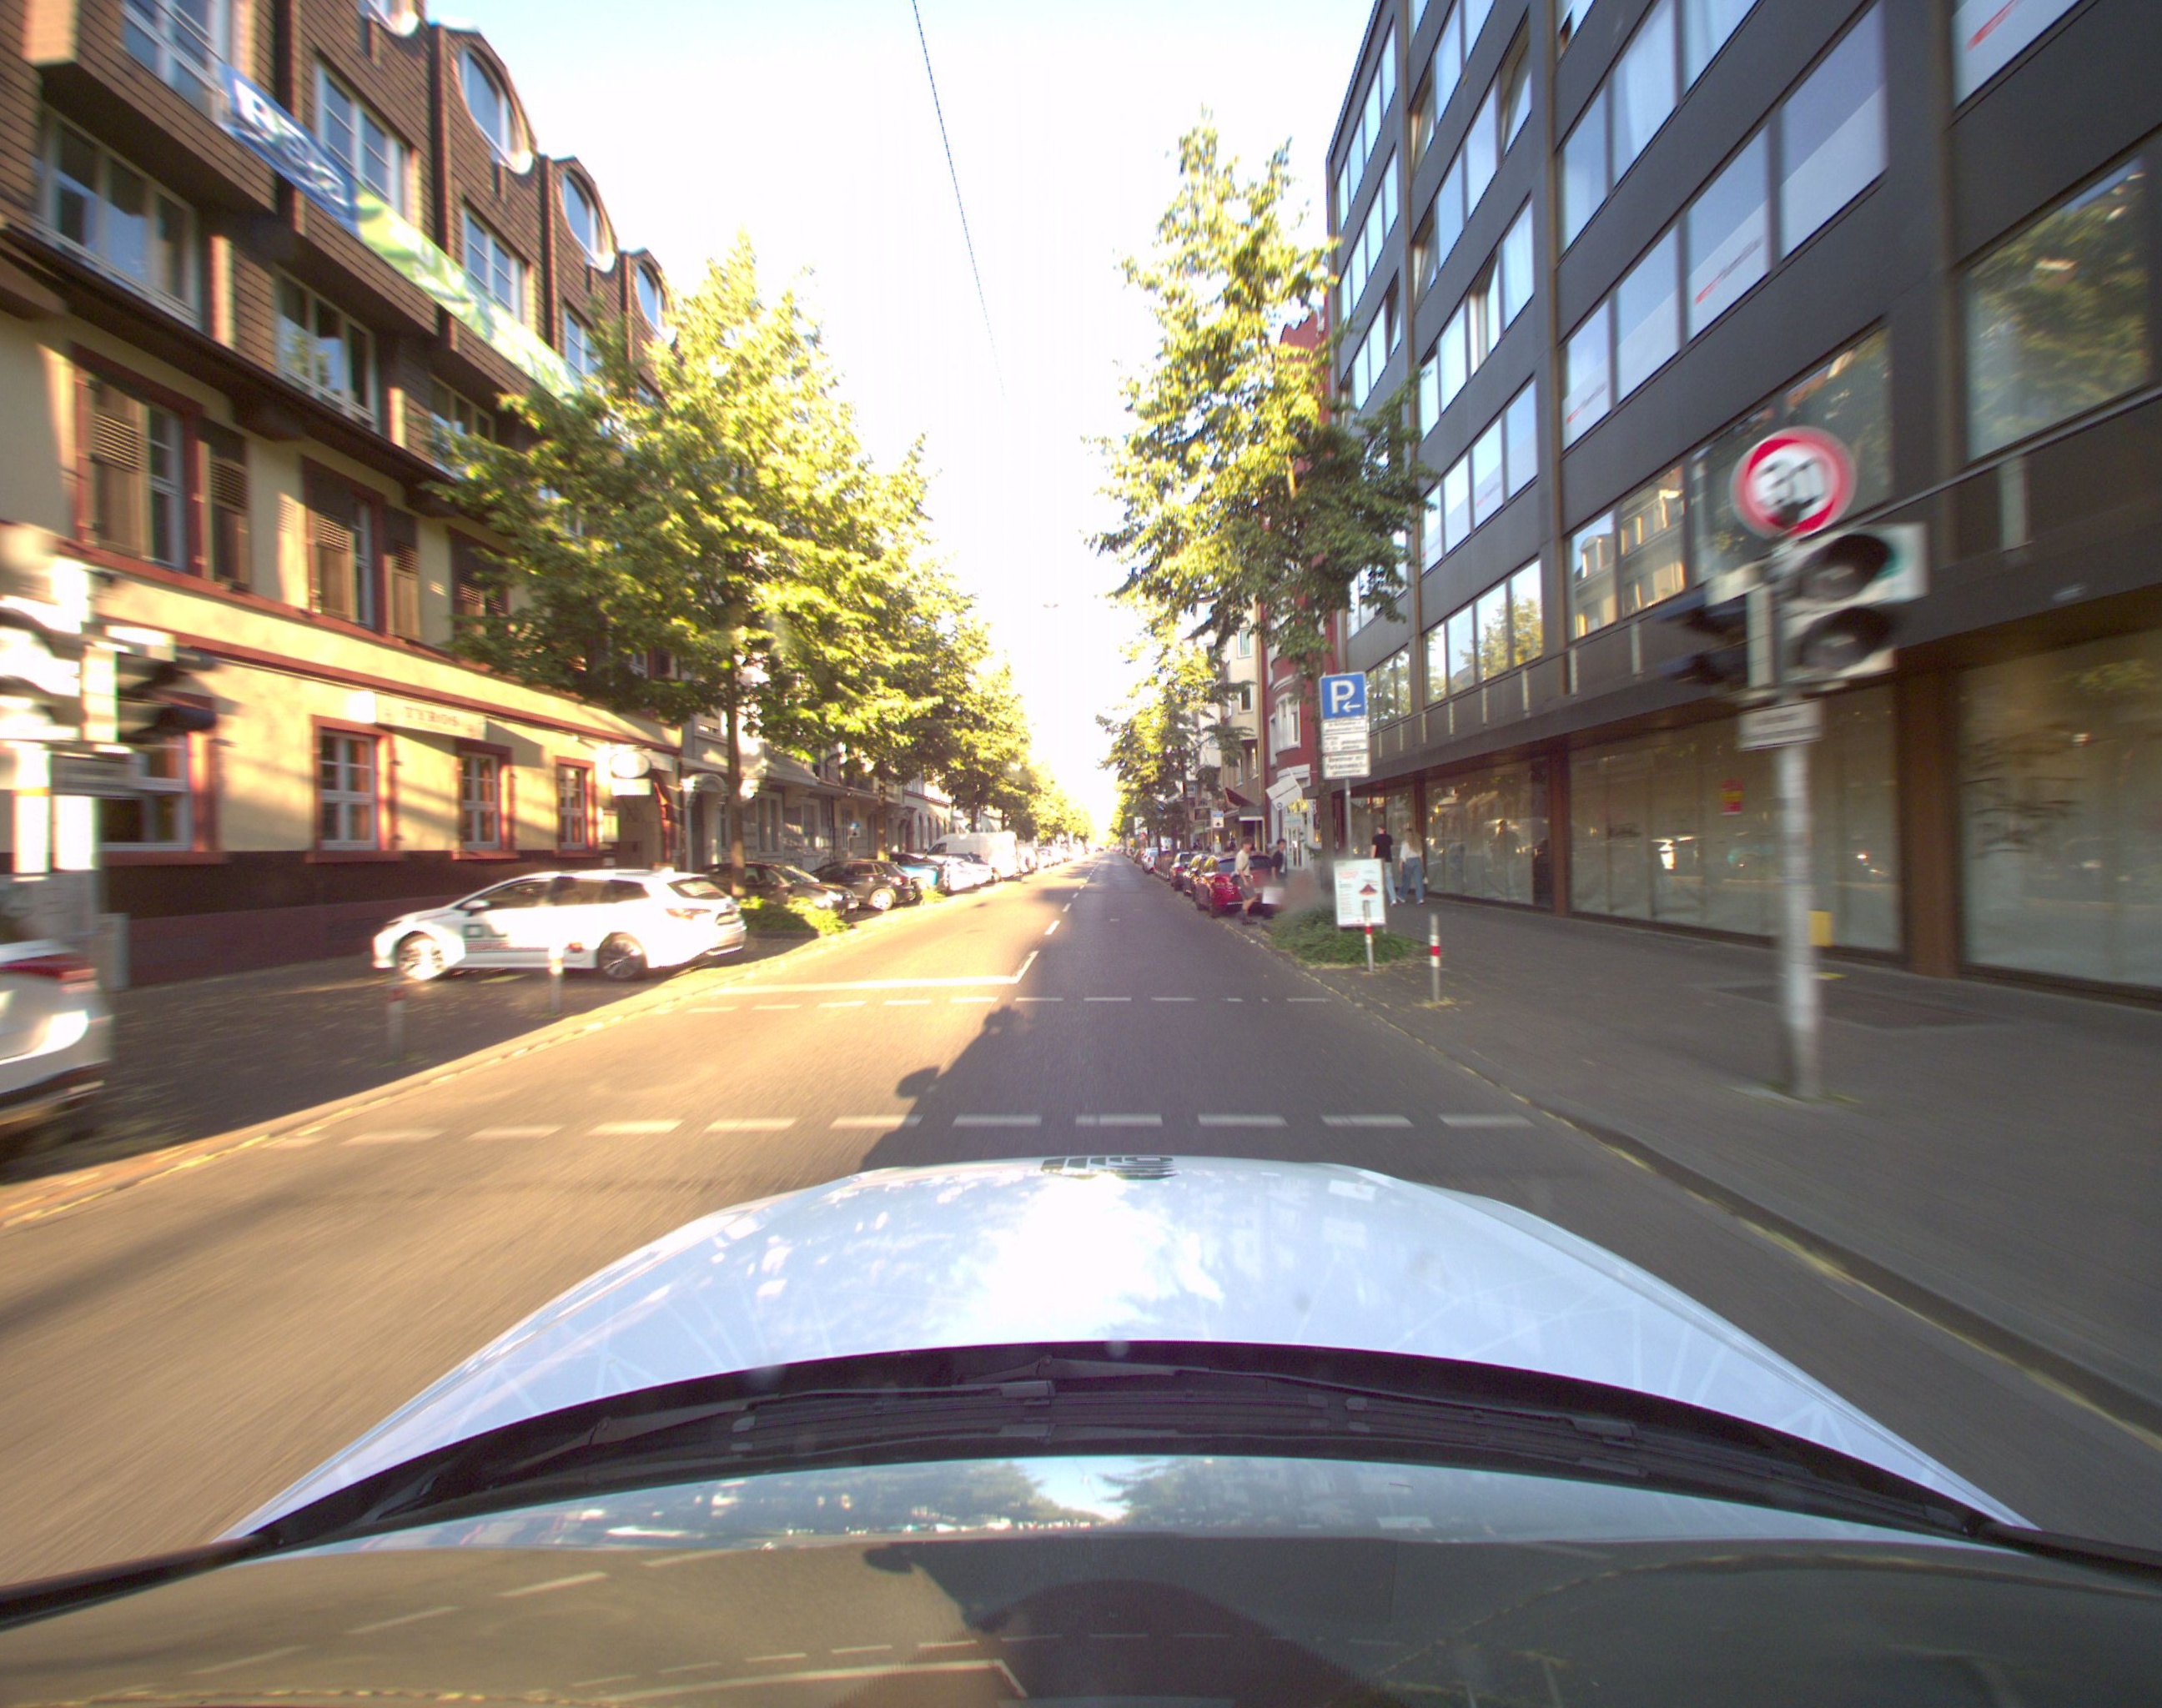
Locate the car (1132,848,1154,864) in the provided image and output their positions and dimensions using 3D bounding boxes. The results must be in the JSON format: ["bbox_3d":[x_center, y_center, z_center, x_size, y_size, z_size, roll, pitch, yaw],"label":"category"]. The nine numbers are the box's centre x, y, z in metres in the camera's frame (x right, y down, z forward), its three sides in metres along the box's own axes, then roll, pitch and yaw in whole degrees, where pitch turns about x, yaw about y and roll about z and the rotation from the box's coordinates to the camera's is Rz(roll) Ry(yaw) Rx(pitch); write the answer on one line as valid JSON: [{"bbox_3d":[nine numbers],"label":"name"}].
[{"bbox_3d":[6.402,0.210,84.249,1.822,1.488,4.849,-3,0,0],"label":"car"}]

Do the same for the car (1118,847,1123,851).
[{"bbox_3d":[12.717,-1.490,261.702,1.507,1.276,3.306,-1,0,3],"label":"car"}]

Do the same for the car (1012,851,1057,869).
[{"bbox_3d":[-4.295,0.548,75.795,4.022,1.483,1.964,-1,0,1],"label":"car"}]

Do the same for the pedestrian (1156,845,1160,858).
[{"bbox_3d":[11.551,-0.375,122.712,0.460,1.875,0.499,-2,0,-13],"label":"pedestrian"}]

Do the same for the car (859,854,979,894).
[{"bbox_3d":[-6.185,0.755,31.413,4.171,1.482,1.971,0,0,0],"label":"car"}]

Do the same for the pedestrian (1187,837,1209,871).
[{"bbox_3d":[6.622,0.003,46.031,0.880,1.883,0.794,-3,2,-27],"label":"pedestrian"}]

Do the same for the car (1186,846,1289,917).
[{"bbox_3d":[3.830,0.609,20.657,1.716,1.492,4.754,-4,0,1],"label":"car"}]

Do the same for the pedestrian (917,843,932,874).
[{"bbox_3d":[-9.111,0.257,47.381,0.659,1.802,0.780,-1,0,2],"label":"pedestrian"}]

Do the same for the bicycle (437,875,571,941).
[{"bbox_3d":[-11.073,0.991,15.753,0.707,1.099,2.367,0,0,6],"label":"bicycle"}]

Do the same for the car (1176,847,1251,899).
[{"bbox_3d":[4.258,0.560,26.788,1.768,1.470,4.419,-4,0,1],"label":"car"}]

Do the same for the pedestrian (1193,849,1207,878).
[{"bbox_3d":[5.650,0.427,38.777,0.545,1.345,0.438,-3,0,2],"label":"pedestrian"}]

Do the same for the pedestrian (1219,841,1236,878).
[{"bbox_3d":[6.728,0.238,37.449,0.622,1.677,0.641,-3,0,2],"label":"pedestrian"}]

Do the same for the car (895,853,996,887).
[{"bbox_3d":[-6.080,0.707,36.842,4.197,1.506,1.794,0,0,1],"label":"car"}]

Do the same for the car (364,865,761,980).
[{"bbox_3d":[-7.041,0.891,11.390,4.366,1.423,1.823,0,0,1],"label":"car"}]

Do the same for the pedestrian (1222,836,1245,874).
[{"bbox_3d":[7.911,0.042,42.266,0.791,1.883,0.883,-1,2,39],"label":"pedestrian"}]

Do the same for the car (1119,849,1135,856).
[{"bbox_3d":[10.305,-0.331,182.277,1.654,1.588,3.846,0,0,45],"label":"car"}]

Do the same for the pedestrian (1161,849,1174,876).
[{"bbox_3d":[4.658,0.456,43.954,0.575,1.384,0.603,-3,0,2],"label":"pedestrian"}]

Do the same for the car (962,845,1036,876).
[{"bbox_3d":[-5.354,0.391,53.462,4.480,1.953,1.921,-1,0,3],"label":"car"}]

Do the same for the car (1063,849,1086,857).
[{"bbox_3d":[-1.399,-0.250,166.684,4.553,1.698,2.061,0,0,2],"label":"car"}]

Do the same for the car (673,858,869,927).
[{"bbox_3d":[-6.993,0.847,18.625,3.768,1.448,1.791,0,0,4],"label":"car"}]

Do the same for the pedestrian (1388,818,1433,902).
[{"bbox_3d":[7.392,0.123,18.299,0.587,1.809,0.836,-4,0,2],"label":"pedestrian"}]

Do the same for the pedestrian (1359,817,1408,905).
[{"bbox_3d":[6.709,0.151,18.117,0.623,1.868,0.976,-4,0,2],"label":"pedestrian"}]

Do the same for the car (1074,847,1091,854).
[{"bbox_3d":[0.324,-0.844,212.149,4.425,1.759,1.920,0,0,2],"label":"car"}]

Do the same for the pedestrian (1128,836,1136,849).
[{"bbox_3d":[7.556,-1.738,120.714,1.013,1.825,0.778,-4,0,-8],"label":"pedestrian"}]

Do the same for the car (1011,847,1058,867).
[{"bbox_3d":[-4.604,0.310,80.915,4.411,1.870,1.895,-1,0,2],"label":"car"}]

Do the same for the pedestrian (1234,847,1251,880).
[{"bbox_3d":[7.487,0.433,37.849,0.622,1.488,0.641,-3,0,2],"label":"pedestrian"}]

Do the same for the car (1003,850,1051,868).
[{"bbox_3d":[-4.654,0.425,70.613,4.046,1.461,1.685,-1,0,-1],"label":"car"}]

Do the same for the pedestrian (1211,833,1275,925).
[{"bbox_3d":[3.307,0.514,16.621,0.859,1.785,0.736,-5,0,44],"label":"pedestrian"}]

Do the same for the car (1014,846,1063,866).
[{"bbox_3d":[-4.344,0.181,83.624,4.852,1.908,1.974,-1,0,1],"label":"car"}]

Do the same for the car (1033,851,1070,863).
[{"bbox_3d":[-3.530,0.347,96.931,4.316,1.501,1.840,0,0,-4],"label":"car"}]

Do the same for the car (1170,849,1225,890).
[{"bbox_3d":[4.602,0.559,32.793,1.767,1.440,5.005,-4,0,4],"label":"car"}]

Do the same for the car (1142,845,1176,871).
[{"bbox_3d":[5.070,0.217,53.398,1.835,1.480,5.192,-4,0,2],"label":"car"}]

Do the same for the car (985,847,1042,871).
[{"bbox_3d":[-5.269,0.379,63.821,4.120,1.806,1.808,-1,0,3],"label":"car"}]

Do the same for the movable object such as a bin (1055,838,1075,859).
[{"bbox_3d":[-2.278,-0.762,119.043,2.615,2.969,5.306,-1,0,2],"label":"movable object such as a bin"}]

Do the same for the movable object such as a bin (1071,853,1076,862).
[{"bbox_3d":[-1.031,0.462,111.484,0.687,1.105,0.884,-2,0,4],"label":"movable object such as a bin"}]

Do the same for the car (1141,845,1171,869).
[{"bbox_3d":[5.441,0.185,59.620,1.872,1.574,4.695,-4,0,2],"label":"car"}]

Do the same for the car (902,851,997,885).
[{"bbox_3d":[-6.332,0.639,39.436,4.195,1.600,1.977,0,0,3],"label":"car"}]

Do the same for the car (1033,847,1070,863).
[{"bbox_3d":[-3.656,0.126,101.085,4.465,1.976,2.070,-1,0,2],"label":"car"}]

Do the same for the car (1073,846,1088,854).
[{"bbox_3d":[-0.059,-1.354,249.728,4.425,2.435,1.920,-1,0,2],"label":"car"}]

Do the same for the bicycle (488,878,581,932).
[{"bbox_3d":[-11.282,1.025,16.873,0.617,0.989,1.736,0,0,6],"label":"bicycle"}]

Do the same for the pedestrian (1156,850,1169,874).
[{"bbox_3d":[4.574,0.430,45.653,0.575,1.319,0.704,-3,0,2],"label":"pedestrian"}]

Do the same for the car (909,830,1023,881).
[{"bbox_3d":[-6.002,0.070,42.897,5.637,2.621,2.172,0,0,1],"label":"car"}]

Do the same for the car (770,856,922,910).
[{"bbox_3d":[-6.746,0.830,23.664,3.903,1.448,1.696,1,0,-1],"label":"car"}]

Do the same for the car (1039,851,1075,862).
[{"bbox_3d":[-3.231,0.341,109.515,4.573,1.470,1.895,0,0,4],"label":"car"}]

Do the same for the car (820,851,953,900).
[{"bbox_3d":[-6.732,0.723,28.569,4.220,1.650,1.892,0,0,-3],"label":"car"}]

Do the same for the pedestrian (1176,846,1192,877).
[{"bbox_3d":[5.133,0.366,40.508,0.629,1.485,0.795,-3,0,2],"label":"pedestrian"}]

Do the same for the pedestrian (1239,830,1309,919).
[{"bbox_3d":[4.104,0.440,17.297,0.933,1.785,1.056,-4,0,44],"label":"pedestrian"}]

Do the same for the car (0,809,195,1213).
[{"bbox_3d":[-7.196,0.700,3.473,4.688,1.811,2.054,0,0,2],"label":"car"}]

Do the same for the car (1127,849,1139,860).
[{"bbox_3d":[7.980,0.009,125.593,1.680,1.575,4.015,-4,0,2],"label":"car"}]

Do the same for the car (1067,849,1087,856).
[{"bbox_3d":[-0.846,-0.414,188.261,4.425,1.568,1.920,0,0,2],"label":"car"}]
